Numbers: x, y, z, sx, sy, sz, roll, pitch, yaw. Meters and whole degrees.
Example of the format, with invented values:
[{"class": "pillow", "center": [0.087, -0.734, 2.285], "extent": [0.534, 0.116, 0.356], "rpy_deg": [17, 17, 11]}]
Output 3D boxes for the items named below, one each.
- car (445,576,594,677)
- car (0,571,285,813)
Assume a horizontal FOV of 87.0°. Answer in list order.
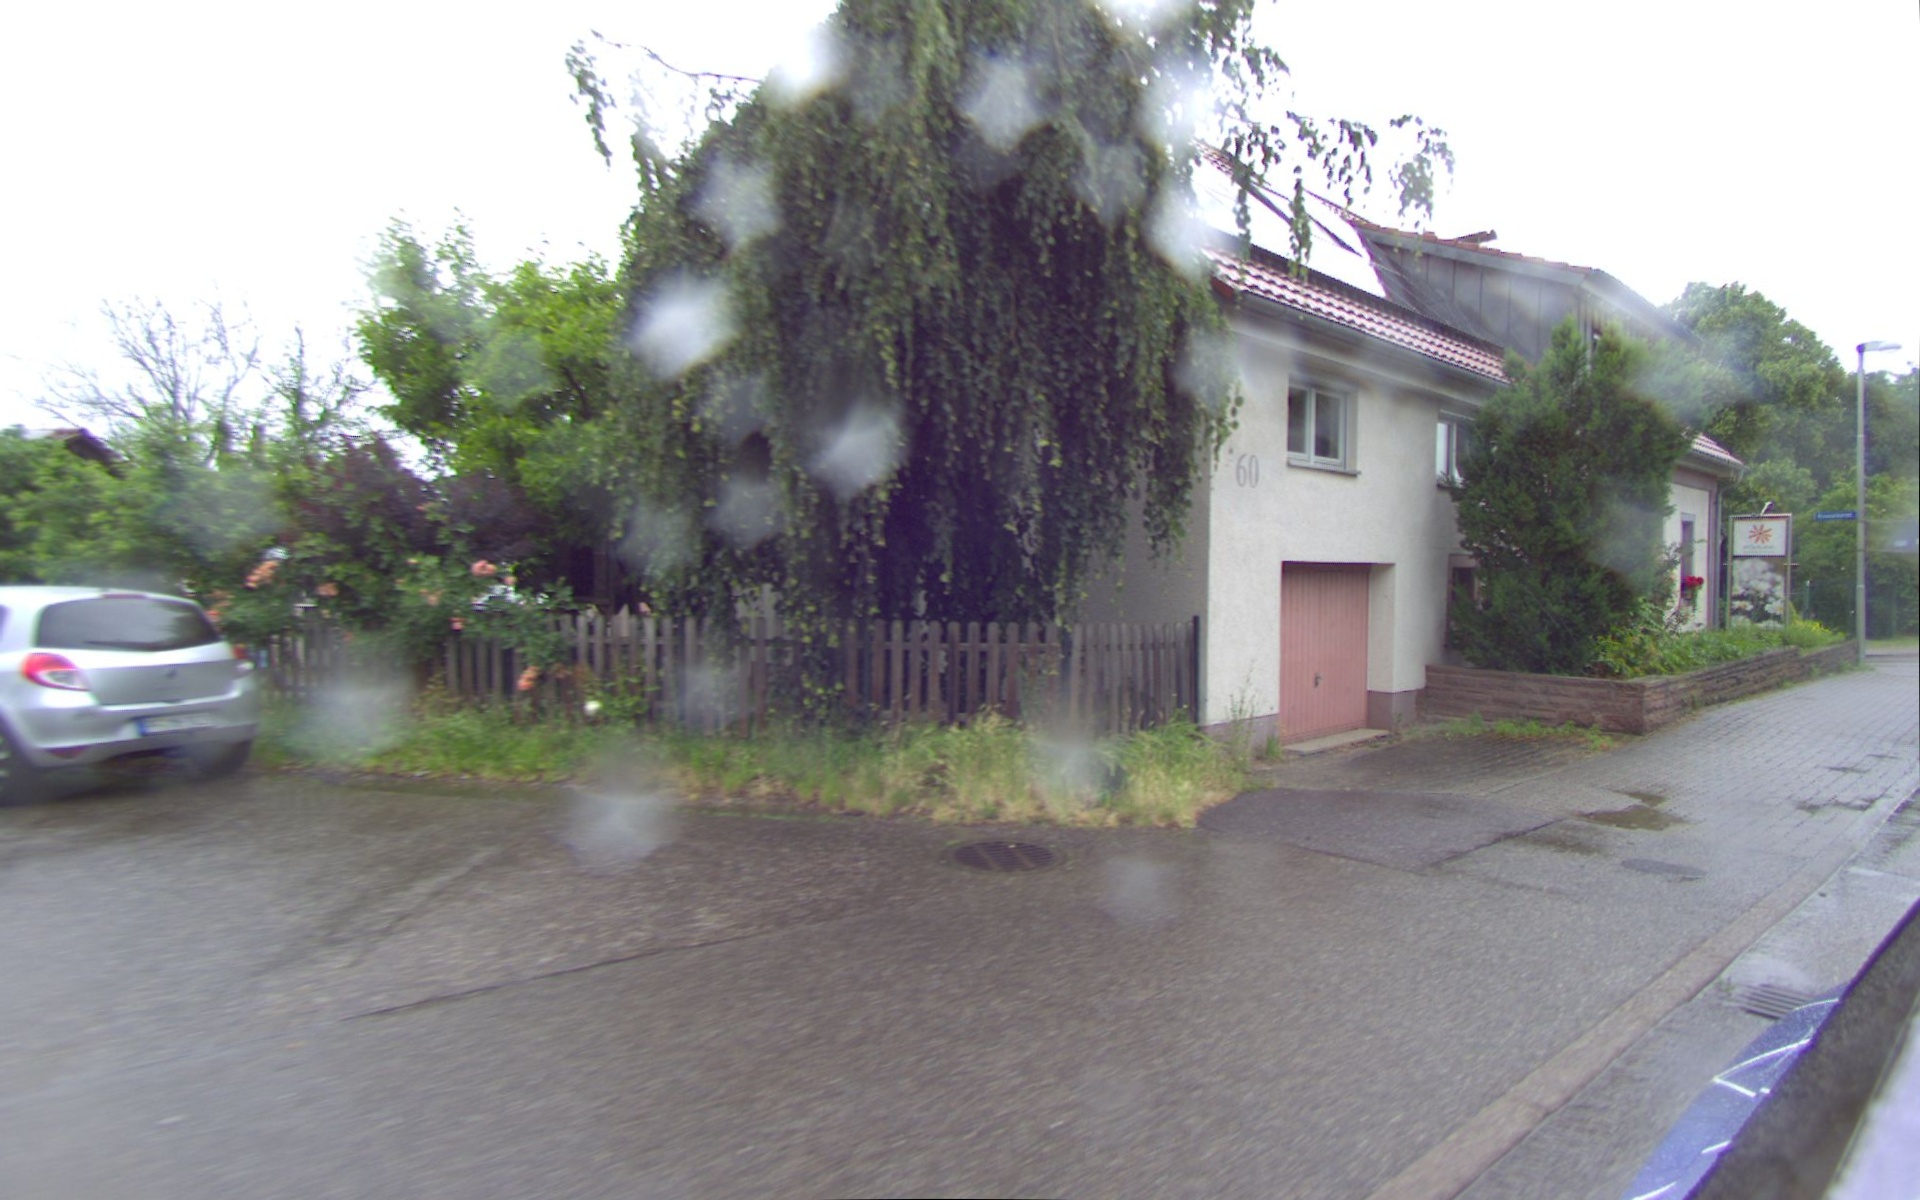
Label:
[{"class": "car", "center": [-12.087, 0.664, 28.076], "extent": [1.966, 2.543, 3.992], "rpy_deg": [1, 1, 8]}, {"class": "car", "center": [-7.471, 0.590, 7.878], "extent": [3.804, 1.551, 1.710], "rpy_deg": [0, 0, 18]}]
